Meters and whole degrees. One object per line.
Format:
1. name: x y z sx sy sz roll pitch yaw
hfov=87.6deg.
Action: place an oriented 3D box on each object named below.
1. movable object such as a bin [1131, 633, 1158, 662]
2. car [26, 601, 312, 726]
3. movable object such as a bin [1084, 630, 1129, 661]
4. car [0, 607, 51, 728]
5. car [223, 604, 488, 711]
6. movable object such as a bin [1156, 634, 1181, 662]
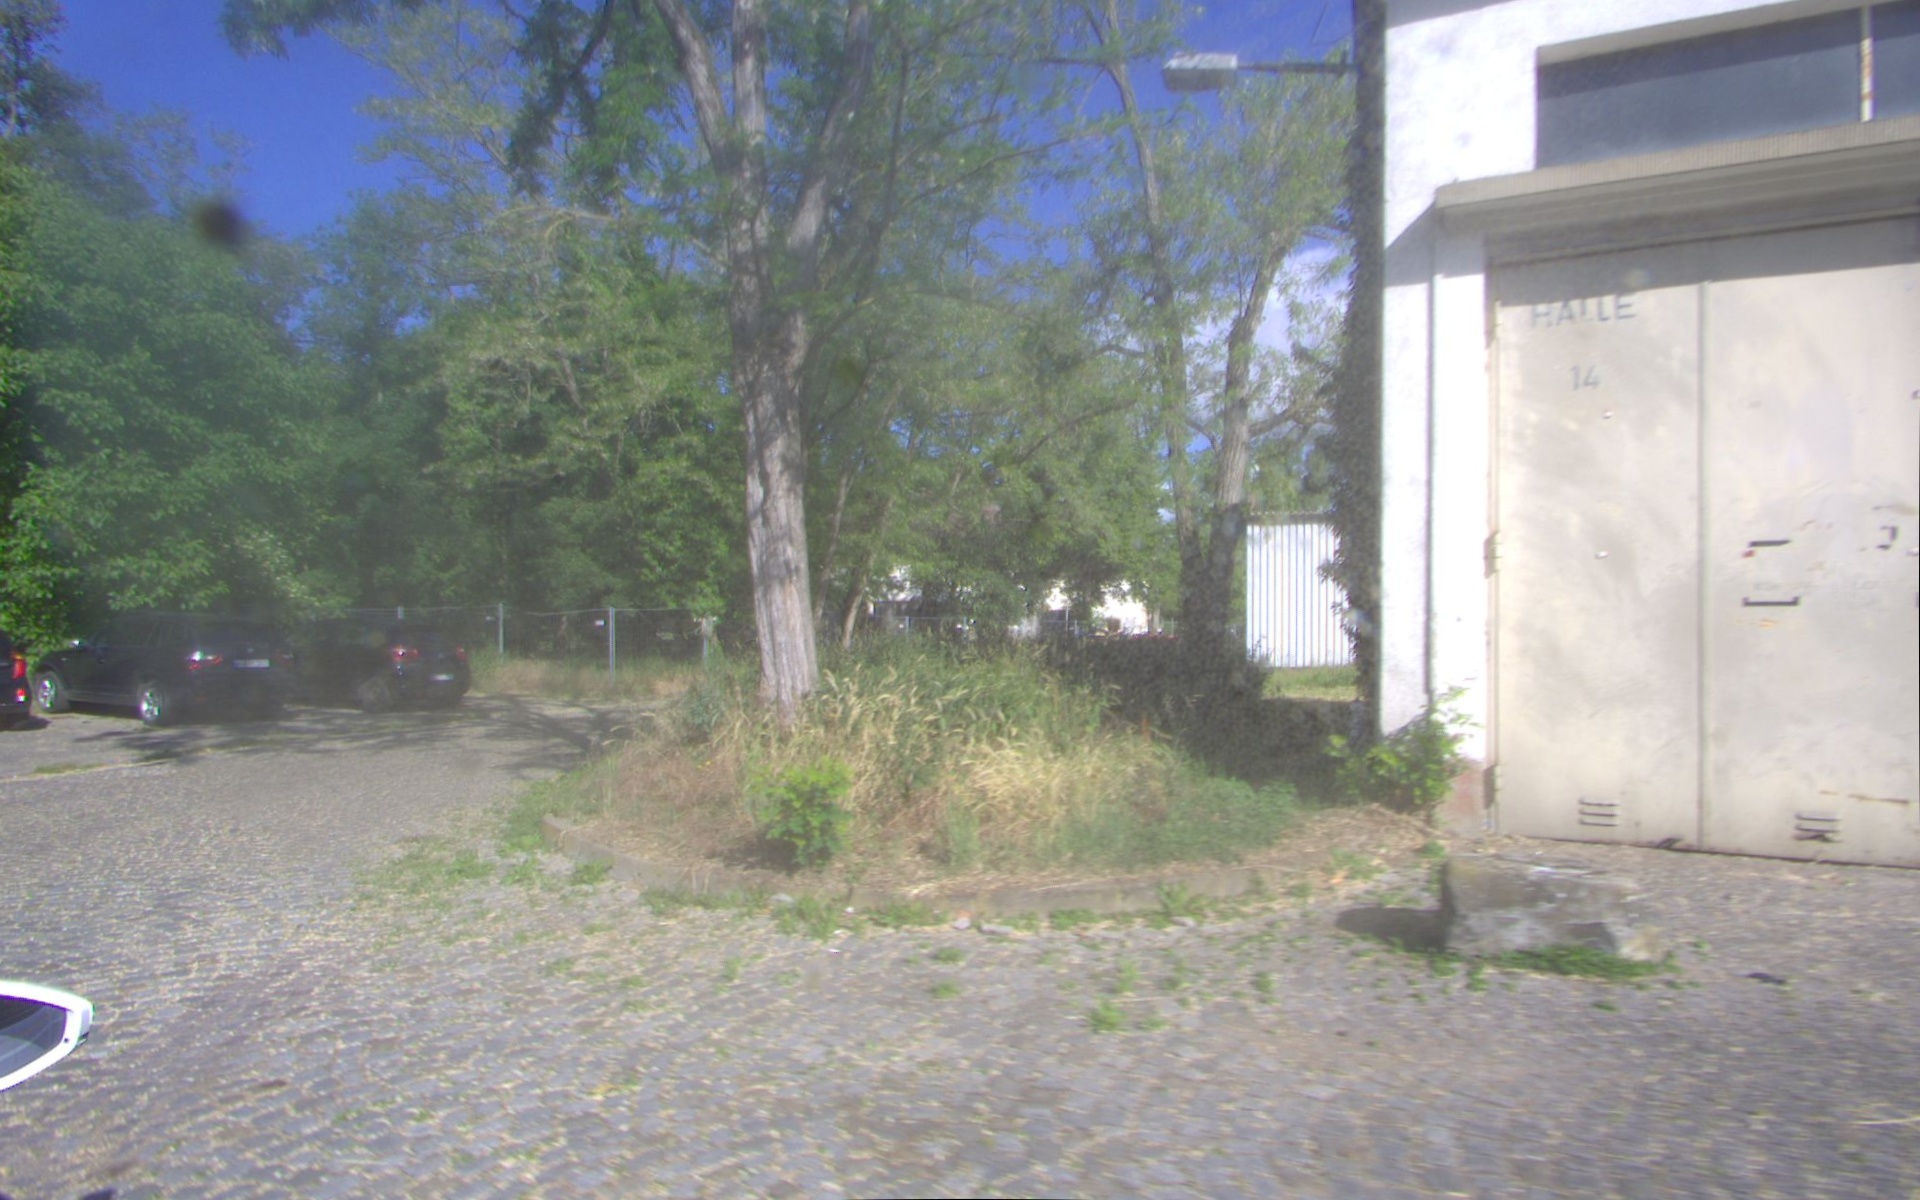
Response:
1. movable object such as a bin: 10.041 2.569 54.423 1.317 1.503 0.806 0 -1 18
2. car: -12.672 0.943 16.049 4.119 1.677 1.813 2 -1 23
3. movable object such as a bin: 8.061 2.499 54.987 2.254 1.611 1.173 0 -1 18
4. car: -14.198 0.840 13.615 3.496 1.535 1.672 2 -1 29
5. car: -11.314 1.034 18.805 4.221 1.673 1.792 3 -1 16
6. movable object such as a bin: 11.220 2.593 53.790 1.226 1.463 0.702 0 -1 18
